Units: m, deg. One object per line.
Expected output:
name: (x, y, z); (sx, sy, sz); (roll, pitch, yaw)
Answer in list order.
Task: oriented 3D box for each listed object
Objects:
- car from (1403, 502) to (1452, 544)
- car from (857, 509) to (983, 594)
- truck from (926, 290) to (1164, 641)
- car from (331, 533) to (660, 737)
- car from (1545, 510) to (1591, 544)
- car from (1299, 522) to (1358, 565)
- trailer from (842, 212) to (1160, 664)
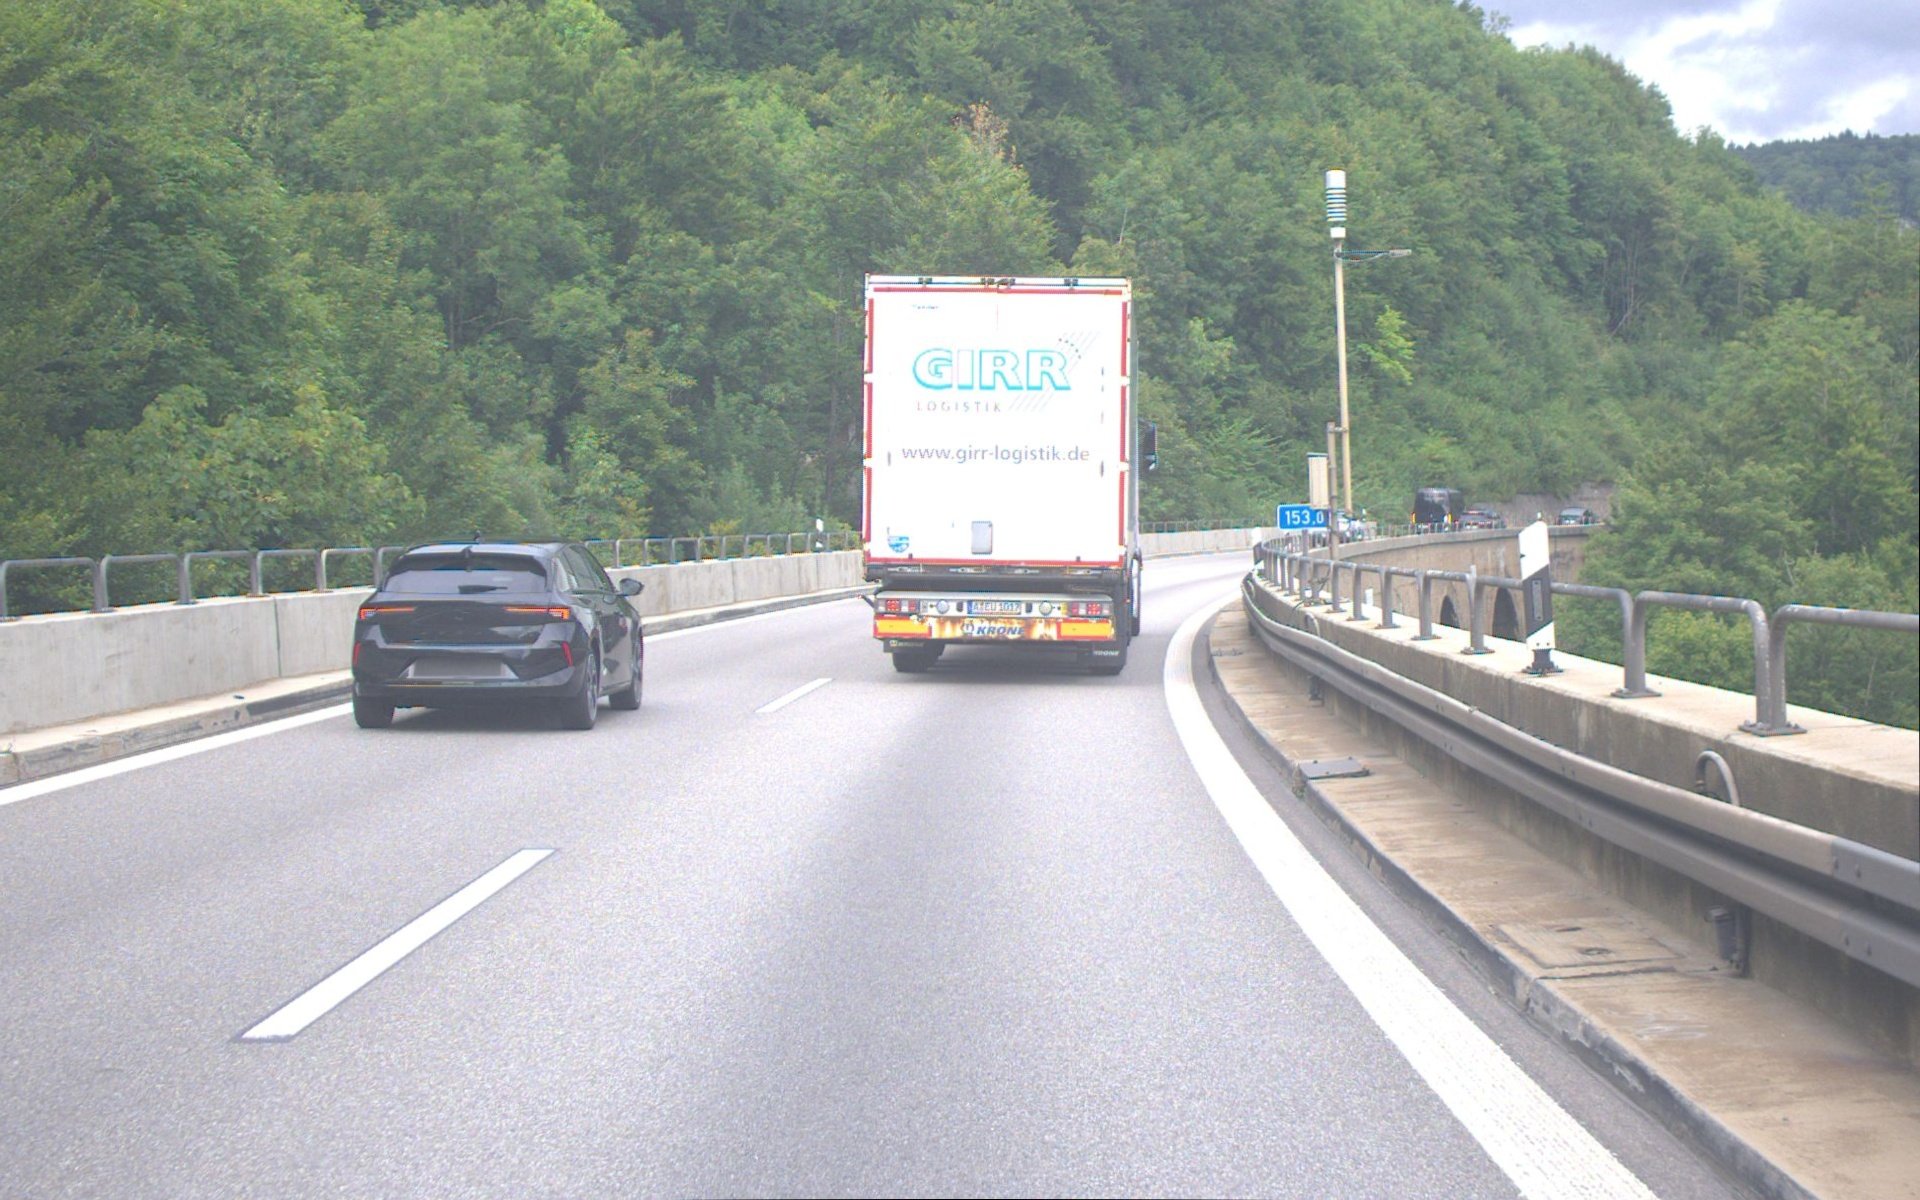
car: (23.270, -3.808, 171.109); (1.995, 2.007, 3.997); (0, 0, 14)
car: (-0.702, -0.897, 63.504); (1.884, 1.505, 4.418); (0, 1, 5)
truck: (1.222, -1.688, 45.372); (2.814, 4.288, 6.258); (0, 1, 4)
car: (-3.539, 0.209, 26.996); (1.773, 1.456, 4.581); (0, 1, 3)
car: (33.365, -4.011, 188.666); (1.995, 1.788, 3.996); (0, 0, 18)
car: (15.798, -2.424, 147.202); (1.995, 1.788, 3.998); (0, 0, 13)
trailer: (0.741, -1.607, 38.845); (2.814, 4.288, 12.243); (0, 1, 4)
